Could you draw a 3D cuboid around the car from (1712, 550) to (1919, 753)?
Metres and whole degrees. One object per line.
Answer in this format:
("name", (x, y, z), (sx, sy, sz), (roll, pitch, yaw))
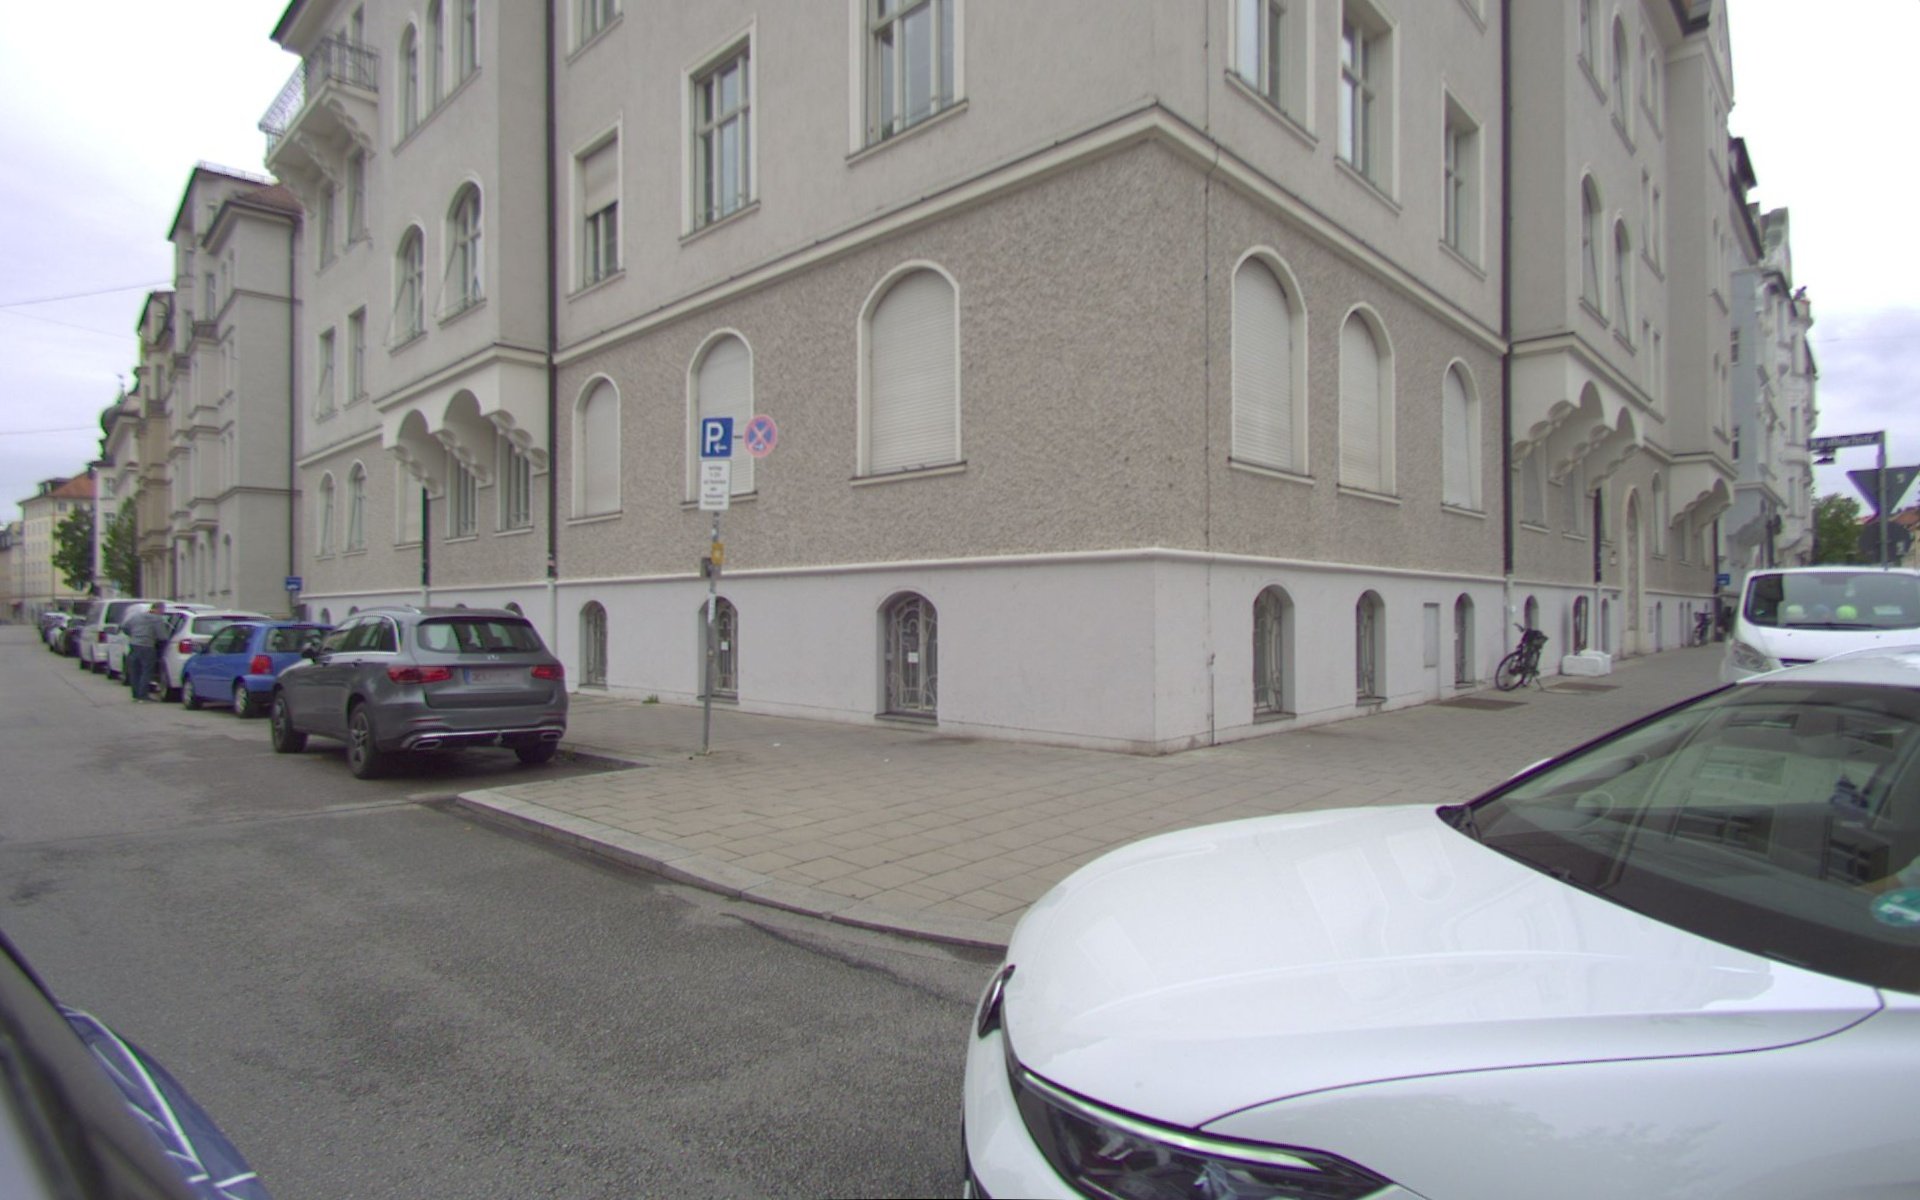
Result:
("car", (10.129, 0.504, 11.700), (1.924, 1.895, 4.844), (-1, -1, 41))

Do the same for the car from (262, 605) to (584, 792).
("car", (-5.961, 0.905, 10.965), (4.497, 1.614, 1.727), (-1, -2, 44))

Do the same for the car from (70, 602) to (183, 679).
("car", (-23.084, 1.084, 27.952), (4.959, 1.953, 1.835), (-1, -2, 44))

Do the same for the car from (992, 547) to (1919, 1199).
("car", (2.495, 0.668, 1.972), (4.827, 1.459, 1.889), (-1, -1, 3))

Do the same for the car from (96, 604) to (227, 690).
("car", (-18.699, 1.051, 23.618), (5.038, 1.802, 1.727), (-1, -2, 44))

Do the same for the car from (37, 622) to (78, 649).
("car", (-50.255, 1.971, 56.363), (1.603, 1.440, 3.946), (2, -2, -42))

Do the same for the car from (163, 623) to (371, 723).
("car", (-11.192, 1.093, 16.286), (3.657, 1.425, 1.676), (-1, -2, 37))

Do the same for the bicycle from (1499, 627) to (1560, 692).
("bicycle", (9.807, 0.996, 17.406), (0.492, 1.057, 1.804), (-1, -1, 43))

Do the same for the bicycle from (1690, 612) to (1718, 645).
("bicycle", (24.568, 0.925, 33.410), (0.492, 1.057, 1.804), (-1, -1, 43))

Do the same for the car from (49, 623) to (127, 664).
("car", (-32.492, 1.602, 37.673), (4.381, 1.423, 1.835), (-1, -3, 45))

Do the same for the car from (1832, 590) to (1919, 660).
("car", (29.860, 0.807, 32.885), (2.122, 2.108, 4.759), (-1, -1, 39))

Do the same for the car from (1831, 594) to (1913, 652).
("car", (33.720, 0.826, 37.526), (2.124, 2.009, 4.756), (-1, -1, 41))

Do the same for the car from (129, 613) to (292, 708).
("car", (-14.465, 1.086, 19.428), (4.497, 1.614, 1.727), (-1, -2, 44))

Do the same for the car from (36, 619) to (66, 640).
("car", (-70.586, 2.283, 78.600), (1.604, 1.542, 3.692), (2, -2, -44))

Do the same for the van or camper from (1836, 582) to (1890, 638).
("van or camper", (50.040, 0.495, 56.019), (2.001, 2.935, 6.345), (-1, 0, 44))

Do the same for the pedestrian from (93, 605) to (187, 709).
("pedestrian", (-14.356, 0.978, 17.735), (0.869, 1.769, 0.959), (-1, -1, 16))

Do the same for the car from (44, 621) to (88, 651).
("car", (-46.375, 1.858, 52.458), (1.603, 1.467, 3.945), (2, -2, -43))

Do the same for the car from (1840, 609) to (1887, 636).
("car", (45.774, 1.133, 51.265), (1.697, 1.356, 3.489), (-1, -2, 43))

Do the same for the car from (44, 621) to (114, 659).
("car", (-36.009, 1.594, 41.316), (4.381, 1.475, 1.835), (-1, -3, 45))
